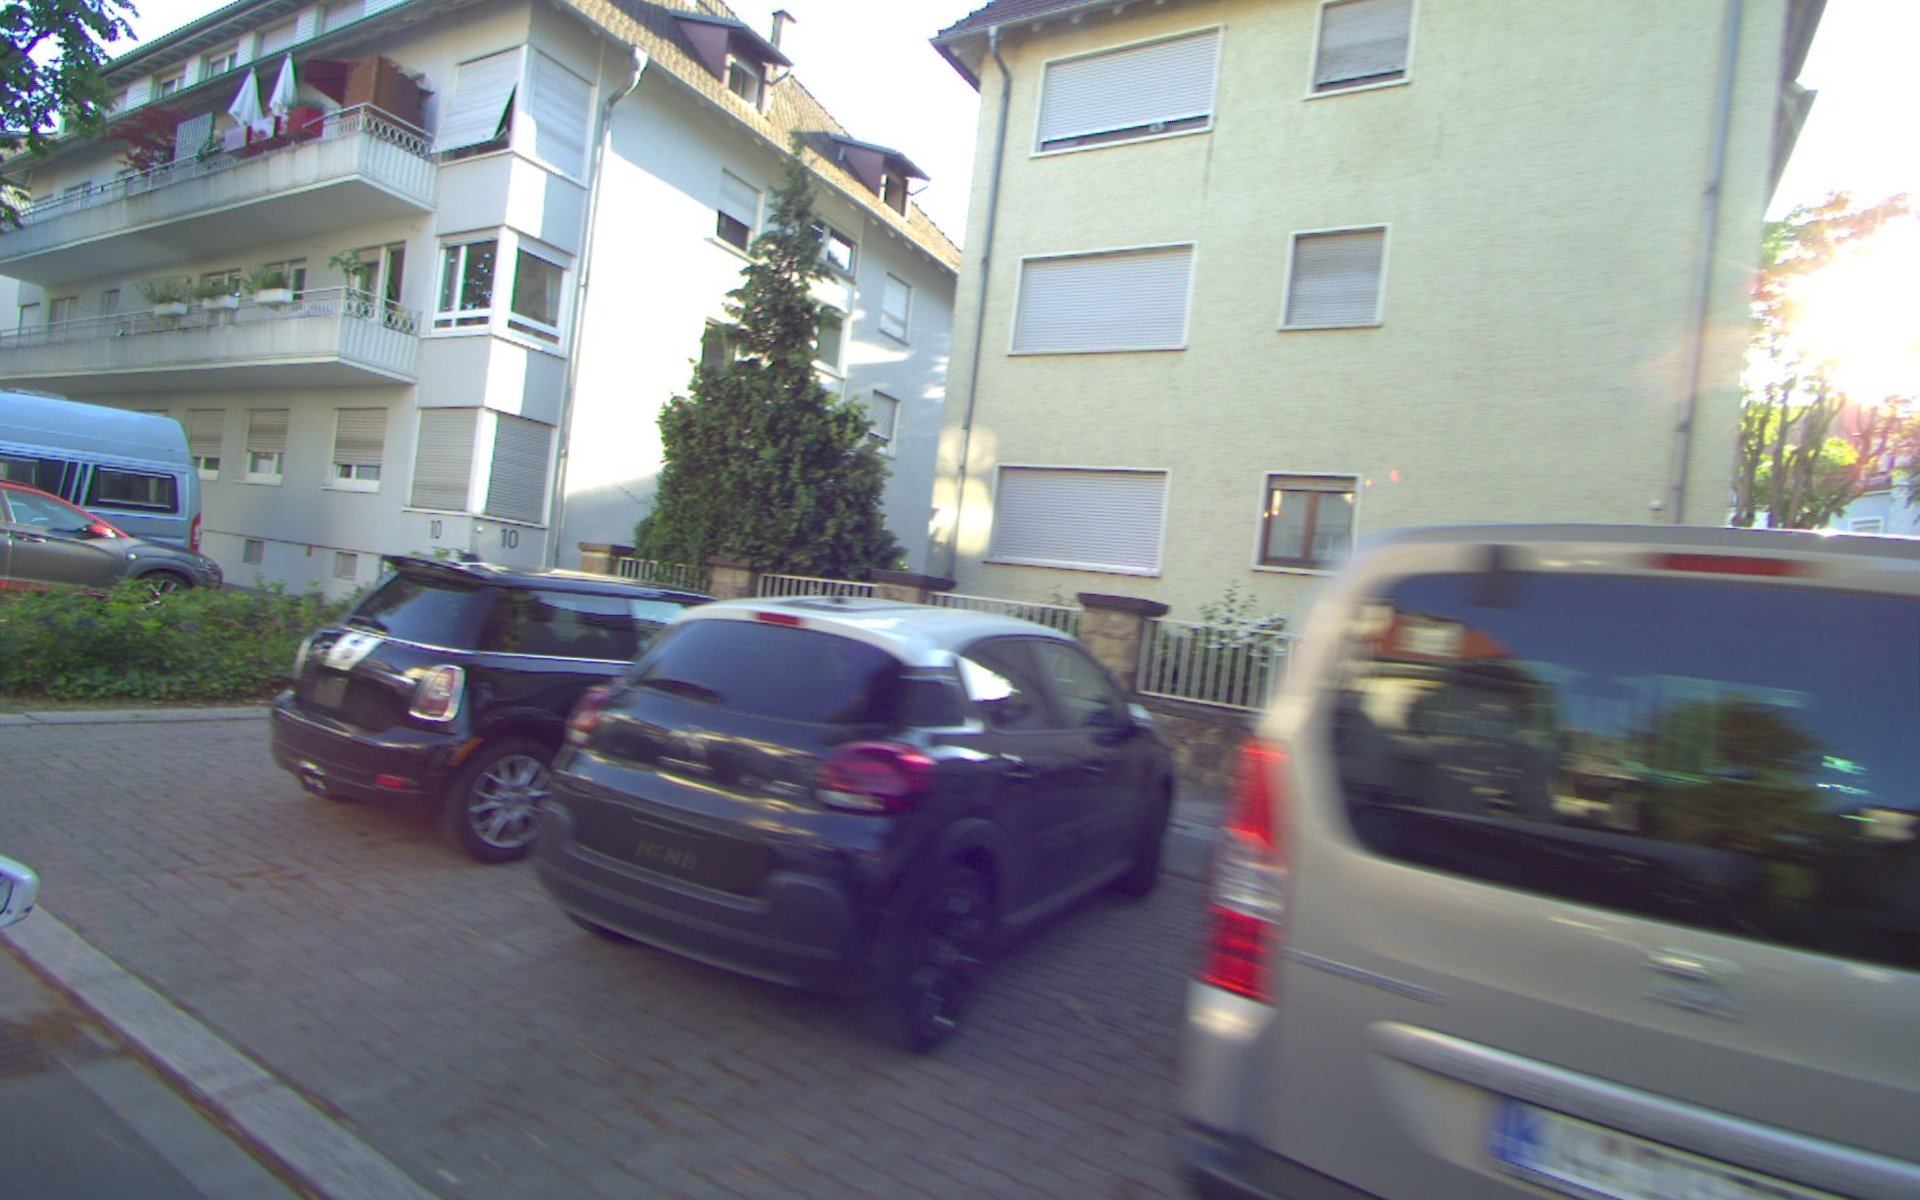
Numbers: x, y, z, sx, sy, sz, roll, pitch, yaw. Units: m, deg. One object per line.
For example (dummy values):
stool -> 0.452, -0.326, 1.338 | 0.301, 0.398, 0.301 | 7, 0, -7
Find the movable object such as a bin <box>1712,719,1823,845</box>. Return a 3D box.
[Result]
movable object such as a bin -> 8.436, 1.883, 10.537 | 0.680, 1.132, 0.604 | 7, 3, 27

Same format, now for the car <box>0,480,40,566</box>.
car -> -18.267, -1.542, 16.897 | 1.729, 1.447, 3.727 | 5, -2, 30

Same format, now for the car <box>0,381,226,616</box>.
car -> -13.549, -1.501, 13.744 | 2.041, 2.938, 5.103 | 7, 0, 30

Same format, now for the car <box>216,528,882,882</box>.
car -> -2.250, 0.537, 6.299 | 1.729, 1.445, 3.406 | 7, 0, 31

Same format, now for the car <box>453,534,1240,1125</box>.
car -> -0.011, 0.777, 5.165 | 1.728, 1.559, 4.310 | 7, -1, 28

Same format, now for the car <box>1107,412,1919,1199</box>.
car -> 2.124, 0.806, 3.483 | 1.728, 1.907, 4.310 | 6, -1, 28

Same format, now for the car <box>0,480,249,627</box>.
car -> -11.421, -0.626, 12.163 | 1.729, 1.588, 4.194 | 7, 1, 30
